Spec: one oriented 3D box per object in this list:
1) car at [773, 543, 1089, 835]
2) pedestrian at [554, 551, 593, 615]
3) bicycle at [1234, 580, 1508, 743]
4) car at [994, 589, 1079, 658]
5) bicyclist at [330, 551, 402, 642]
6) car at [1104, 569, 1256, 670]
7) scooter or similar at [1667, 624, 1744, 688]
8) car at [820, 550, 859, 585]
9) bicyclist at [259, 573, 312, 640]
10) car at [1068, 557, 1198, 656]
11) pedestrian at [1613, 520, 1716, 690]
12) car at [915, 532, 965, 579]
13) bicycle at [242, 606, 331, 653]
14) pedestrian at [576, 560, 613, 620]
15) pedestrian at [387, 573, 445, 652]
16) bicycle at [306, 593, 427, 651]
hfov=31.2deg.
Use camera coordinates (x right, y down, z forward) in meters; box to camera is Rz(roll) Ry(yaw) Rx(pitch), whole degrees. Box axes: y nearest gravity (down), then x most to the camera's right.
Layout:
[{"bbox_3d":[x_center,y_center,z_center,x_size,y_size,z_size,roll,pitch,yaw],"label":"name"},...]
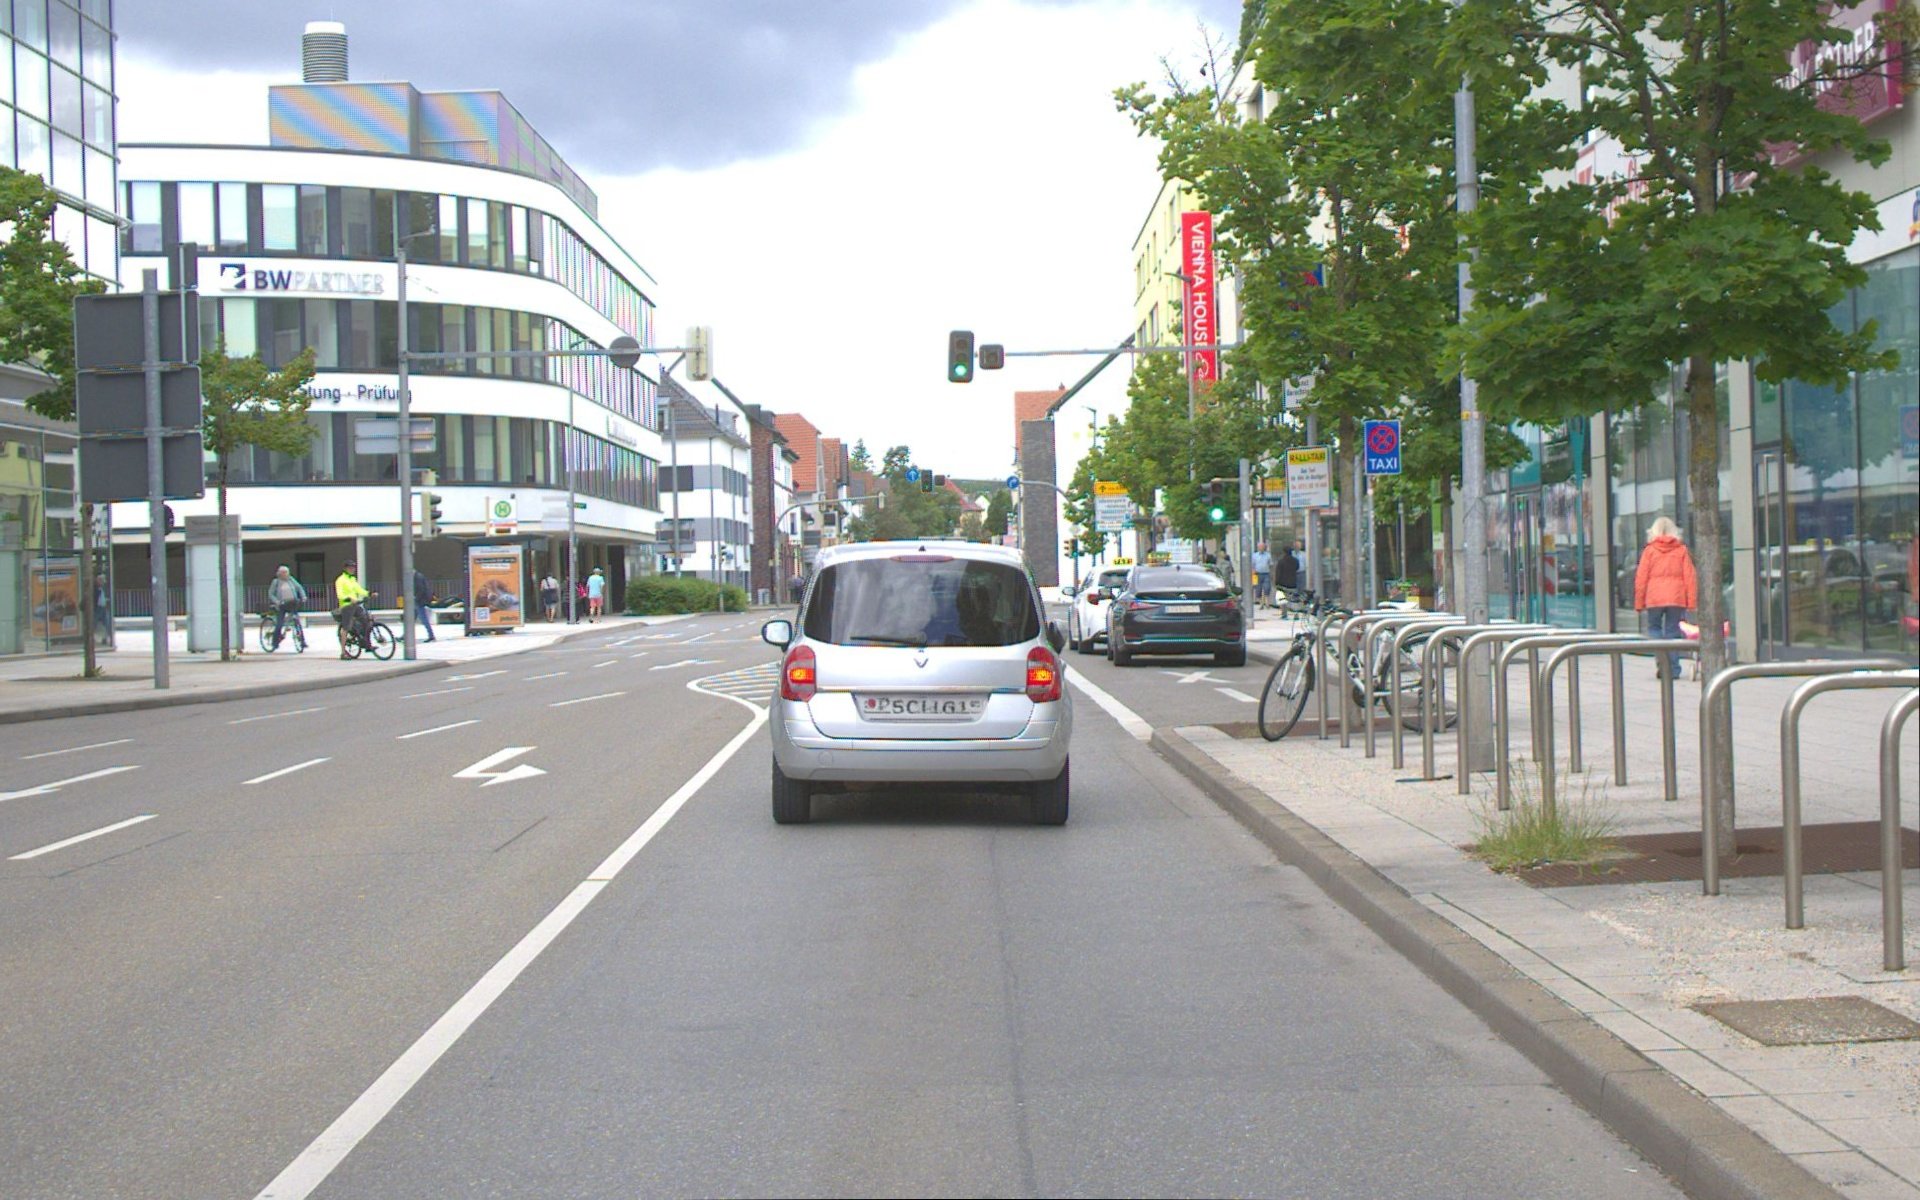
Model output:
[{"bbox_3d":[-0.239,0.448,20.203,1.669,1.549,3.642,1,1,-3],"label":"car"},{"bbox_3d":[-11.414,-0.512,101.533,0.960,1.827,1.250,-2,1,0],"label":"pedestrian"},{"bbox_3d":[2.949,0.437,24.785,1.825,1.071,0.752,-2,1,-2],"label":"bicycle"},{"bbox_3d":[1.806,0.545,82.283,1.669,1.549,3.643,1,1,-4],"label":"car"},{"bbox_3d":[-11.015,-0.069,63.733,1.006,1.655,0.933,1,0,-34],"label":"bicyclist"},{"bbox_3d":[3.098,0.243,49.066,1.877,1.330,4.000,1,1,0],"label":"car"},{"bbox_3d":[7.013,0.522,32.358,0.550,0.544,0.642,-4,1,0],"label":"scooter or similar"},{"bbox_3d":[-7.311,-1.997,209.067,2.170,2.007,4.258,-2,1,0],"label":"car"},{"bbox_3d":[-13.454,0.126,68.561,0.827,1.322,0.652,-2,1,-33],"label":"bicyclist"},{"bbox_3d":[2.764,0.084,55.601,1.877,1.503,4.000,1,1,0],"label":"car"},{"bbox_3d":[6.791,0.038,33.165,0.710,1.569,0.812,-4,1,0],"label":"pedestrian"},{"bbox_3d":[-0.902,-2.015,155.052,2.170,2.007,4.258,-2,1,0],"label":"car"},{"bbox_3d":[-13.444,0.576,68.563,0.827,0.895,2.525,-2,1,-33],"label":"bicycle"},{"bbox_3d":[-11.447,-0.323,107.707,0.960,1.827,1.250,-2,1,0],"label":"pedestrian"},{"bbox_3d":[-12.961,0.300,81.945,1.246,1.827,0.964,-2,1,-6],"label":"pedestrian"},{"bbox_3d":[-11.017,0.403,63.723,1.006,1.015,3.130,1,0,-34],"label":"bicycle"}]
